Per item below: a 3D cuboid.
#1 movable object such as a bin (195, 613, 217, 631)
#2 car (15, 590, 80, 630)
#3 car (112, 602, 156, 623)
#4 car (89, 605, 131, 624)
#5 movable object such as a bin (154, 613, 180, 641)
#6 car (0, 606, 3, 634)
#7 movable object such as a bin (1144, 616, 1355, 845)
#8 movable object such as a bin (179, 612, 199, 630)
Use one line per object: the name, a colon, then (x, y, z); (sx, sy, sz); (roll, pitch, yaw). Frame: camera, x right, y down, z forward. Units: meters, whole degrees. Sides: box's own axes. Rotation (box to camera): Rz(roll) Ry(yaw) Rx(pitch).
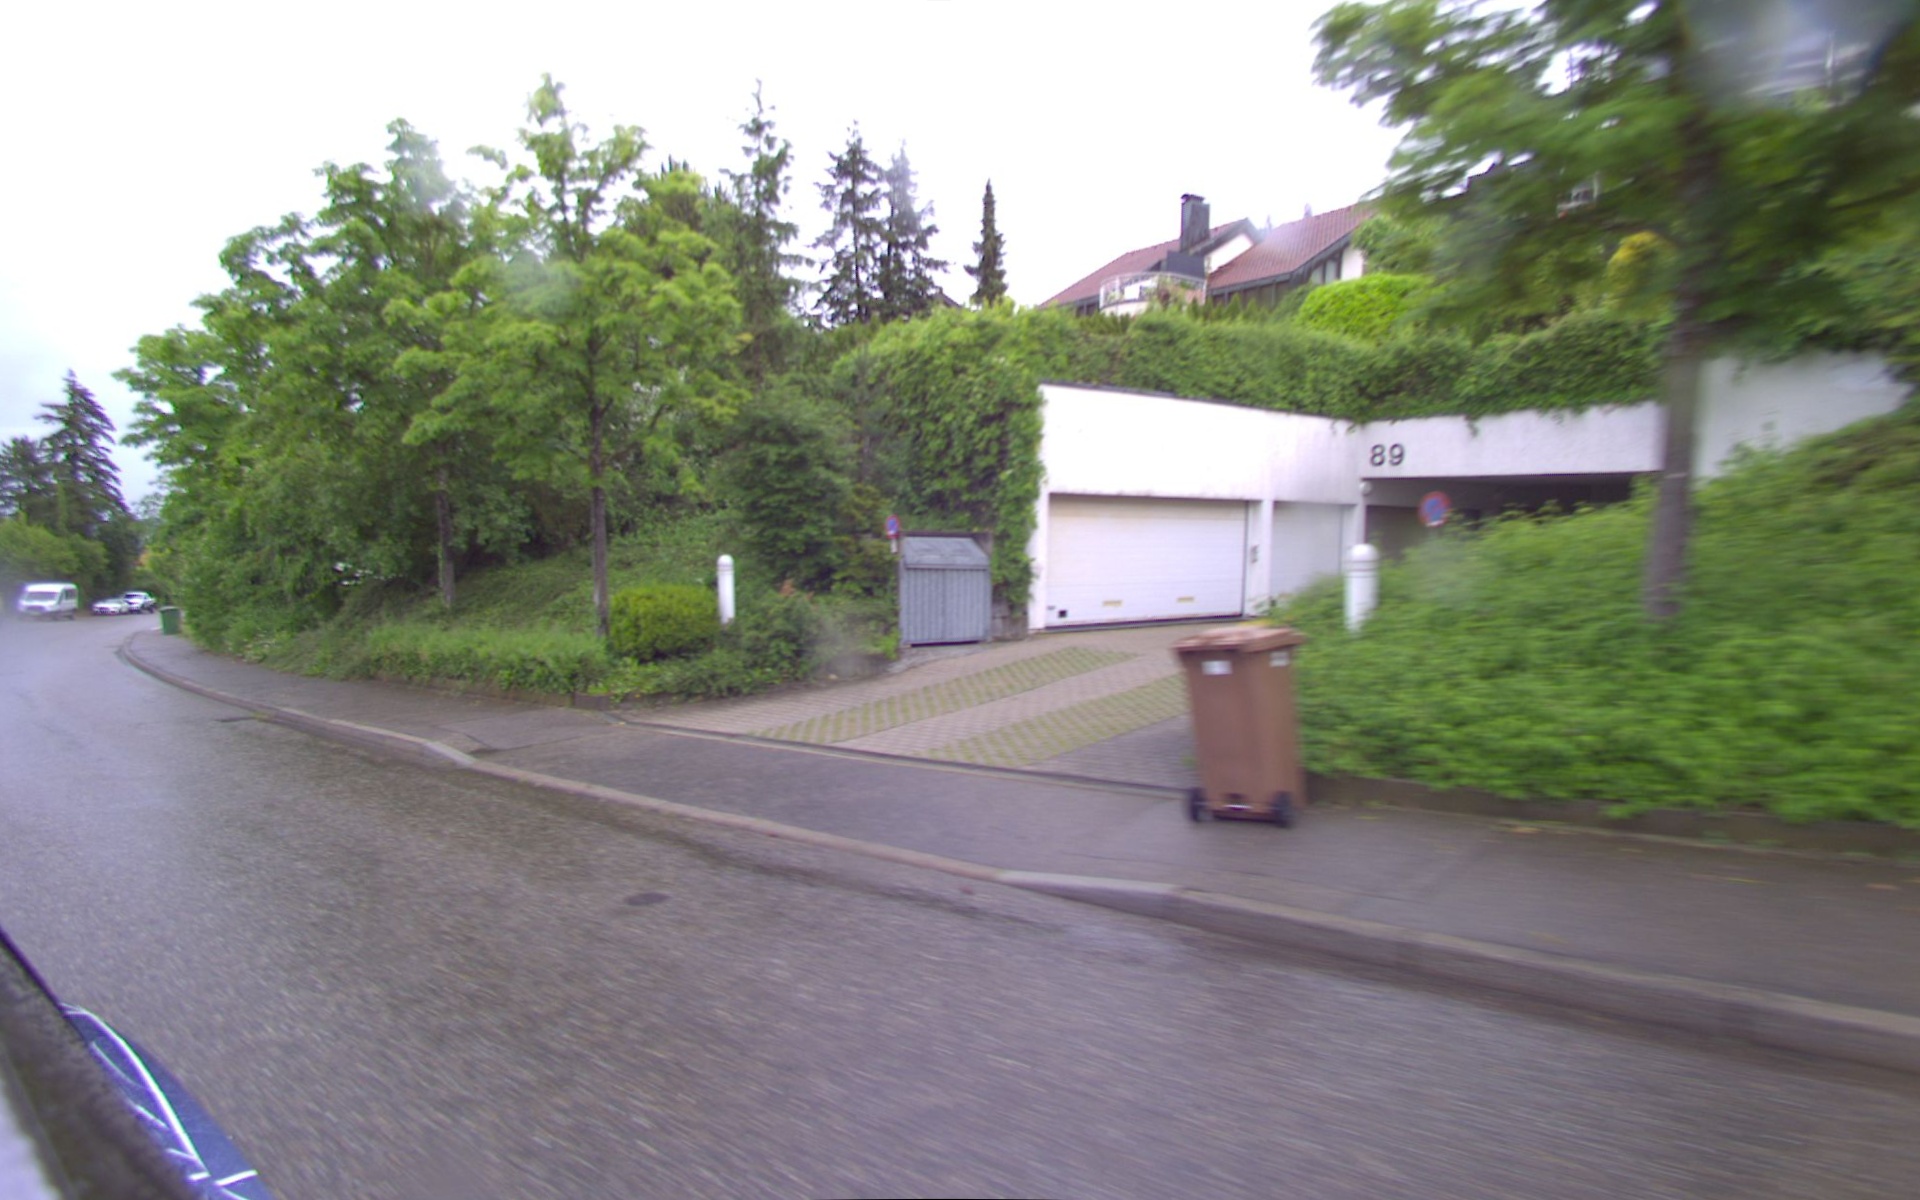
movable object such as a bin: (-46.064, 1.320, 61.848); (0.711, 1.035, 0.778); (-1, 2, 8)
car: (-62.381, 0.651, 69.297); (2.044, 2.569, 6.200); (0, 0, -30)
car: (-72.477, 1.075, 88.885); (1.838, 1.832, 4.878); (0, 0, -25)
car: (-70.005, 1.186, 83.394); (1.725, 1.434, 4.013); (0, 0, -26)
movable object such as a bin: (-31.208, 1.065, 39.828); (0.759, 1.076, 0.691); (0, 0, -44)
car: (-52.047, 1.050, 53.148); (1.832, 1.538, 5.076); (1, -1, -35)
movable object such as a bin: (1.601, 0.686, 5.602); (0.803, 1.098, 0.687); (-6, -1, 43)
movable object such as a bin: (-47.440, 1.305, 62.271); (0.717, 1.035, 0.772); (0, 3, 31)
